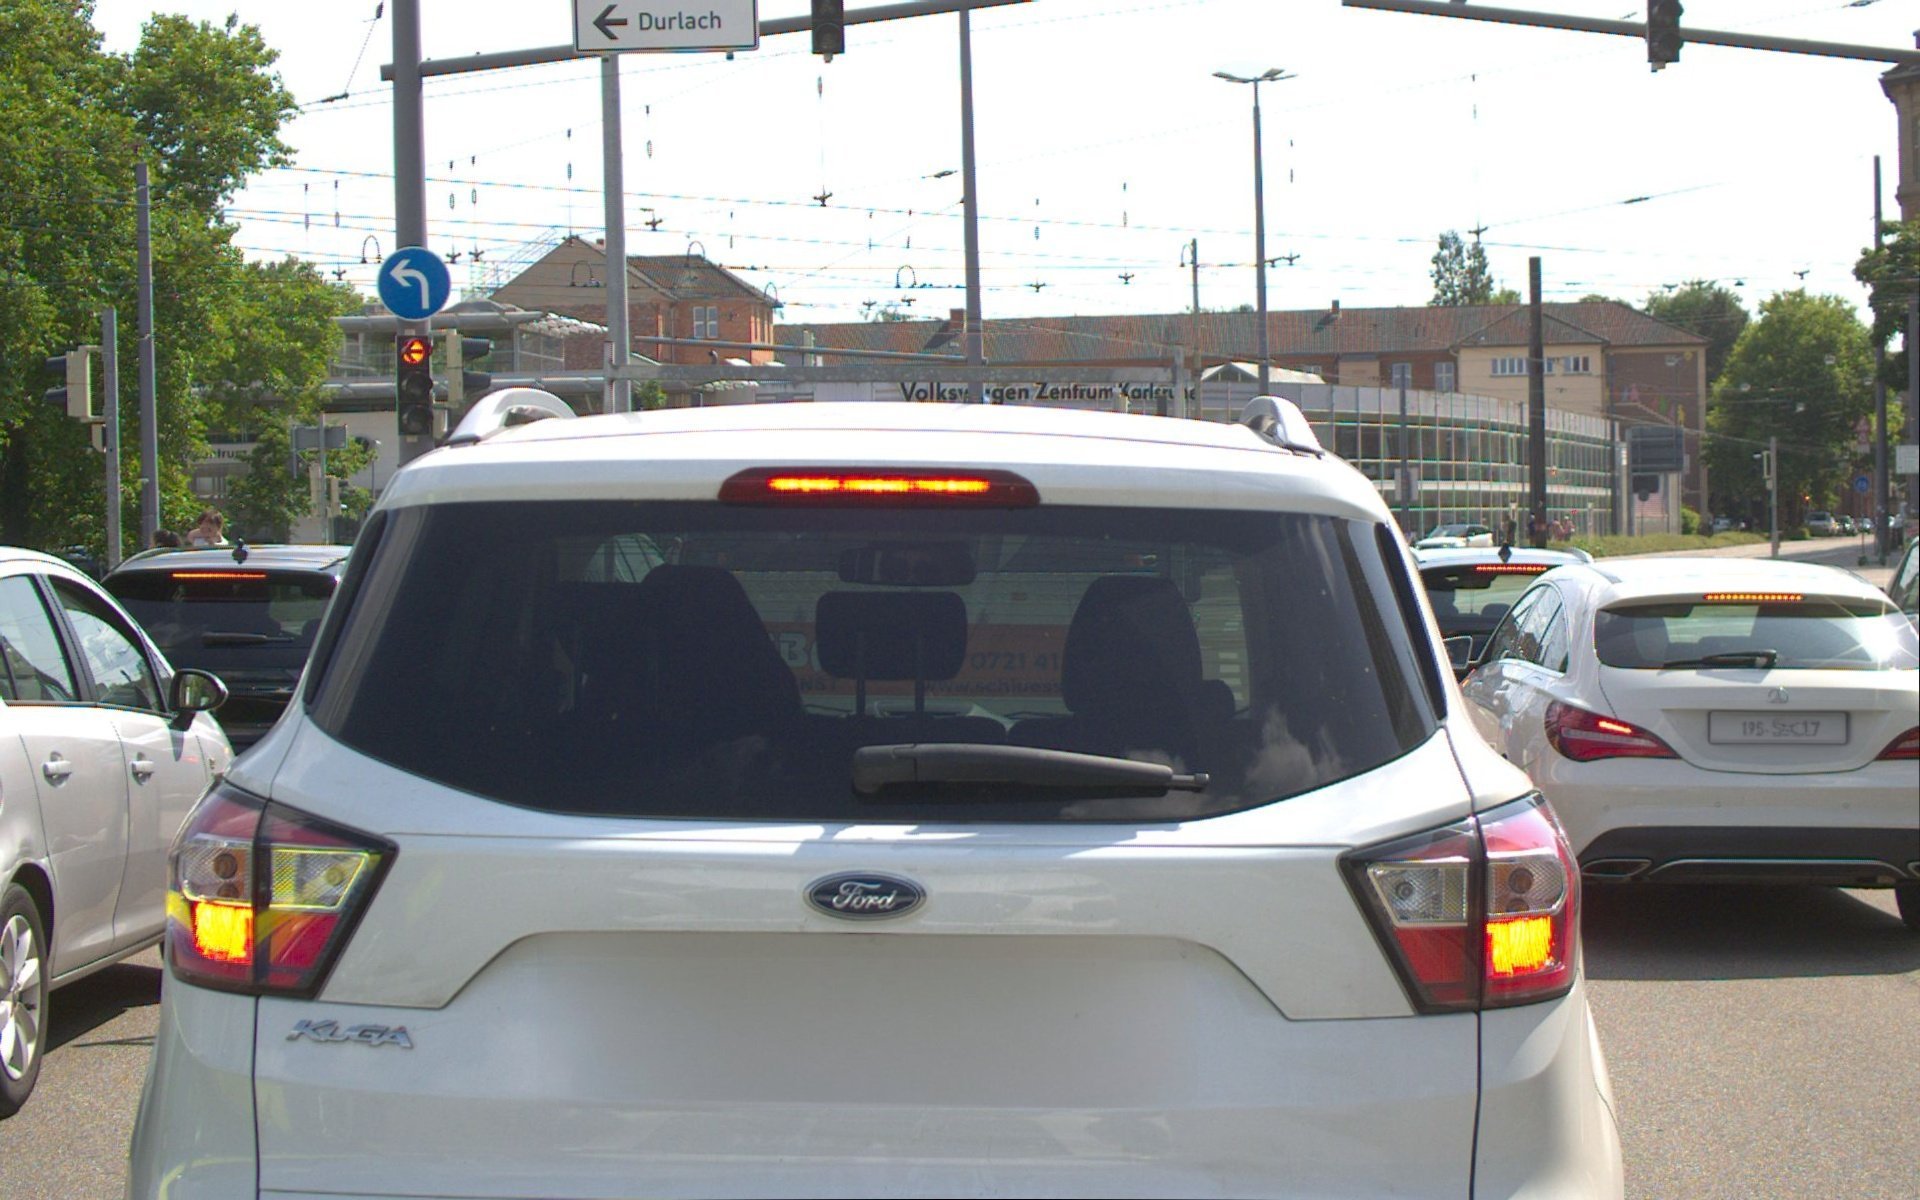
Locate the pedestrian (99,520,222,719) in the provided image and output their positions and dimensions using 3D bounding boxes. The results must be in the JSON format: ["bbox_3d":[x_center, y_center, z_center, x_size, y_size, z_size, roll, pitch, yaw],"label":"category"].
[{"bbox_3d":[-6.757,0.161,29.081,0.847,1.642,0.692,-1,0,-1],"label":"pedestrian"}]

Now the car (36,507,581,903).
[{"bbox_3d":[-2.859,0.377,16.041,1.762,1.563,4.527,-1,1,-1],"label":"car"}]

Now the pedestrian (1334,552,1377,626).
[{"bbox_3d":[9.341,-0.254,81.257,0.588,1.738,0.925,1,1,38],"label":"pedestrian"}]

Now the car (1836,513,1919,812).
[{"bbox_3d":[6.301,0.337,19.843,1.837,1.646,3.999,0,0,6],"label":"car"}]

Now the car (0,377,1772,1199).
[{"bbox_3d":[-0.017,0.581,5.392,1.827,1.658,3.955,0,1,3],"label":"car"}]

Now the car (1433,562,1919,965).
[{"bbox_3d":[3.012,0.559,14.020,1.850,1.414,3.679,0,1,3],"label":"car"}]

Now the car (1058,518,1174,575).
[{"bbox_3d":[4.283,-1.472,93.687,1.901,1.456,3.964,-2,1,22],"label":"car"}]

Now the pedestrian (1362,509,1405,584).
[{"bbox_3d":[9.946,-1.258,80.770,0.588,1.738,0.925,1,1,38],"label":"pedestrian"}]

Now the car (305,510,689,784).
[{"bbox_3d":[-2.849,0.234,22.127,2.039,1.573,4.540,0,1,-2],"label":"car"}]

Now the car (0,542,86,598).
[{"bbox_3d":[-33.340,-1.071,124.754,1.967,1.930,5.069,-3,0,-1],"label":"car"}]

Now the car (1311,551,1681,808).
[{"bbox_3d":[3.145,0.415,20.821,1.850,1.414,3.679,0,1,3],"label":"car"}]

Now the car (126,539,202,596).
[{"bbox_3d":[-28.665,-1.146,123.901,1.967,1.930,4.231,-3,0,-5],"label":"car"}]

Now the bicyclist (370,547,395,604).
[{"bbox_3d":[-17.810,-0.767,106.093,0.637,1.732,0.662,0,1,2],"label":"bicyclist"}]

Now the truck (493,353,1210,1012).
[{"bbox_3d":[-0.321,0.214,14.153,2.339,2.148,5.852,0,1,1],"label":"truck"}]

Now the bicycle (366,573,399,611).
[{"bbox_3d":[-17.806,-0.261,106.040,0.637,1.121,1.784,0,2,2],"label":"bicycle"}]

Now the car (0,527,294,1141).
[{"bbox_3d":[-3.253,0.543,10.074,1.848,1.469,4.000,-1,1,-1],"label":"car"}]

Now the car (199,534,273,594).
[{"bbox_3d":[-26.005,-1.274,123.644,1.993,2.007,4.231,-3,0,-5],"label":"car"}]

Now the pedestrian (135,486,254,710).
[{"bbox_3d":[-6.654,-0.022,29.918,0.847,1.910,0.692,-1,0,-1],"label":"pedestrian"}]
